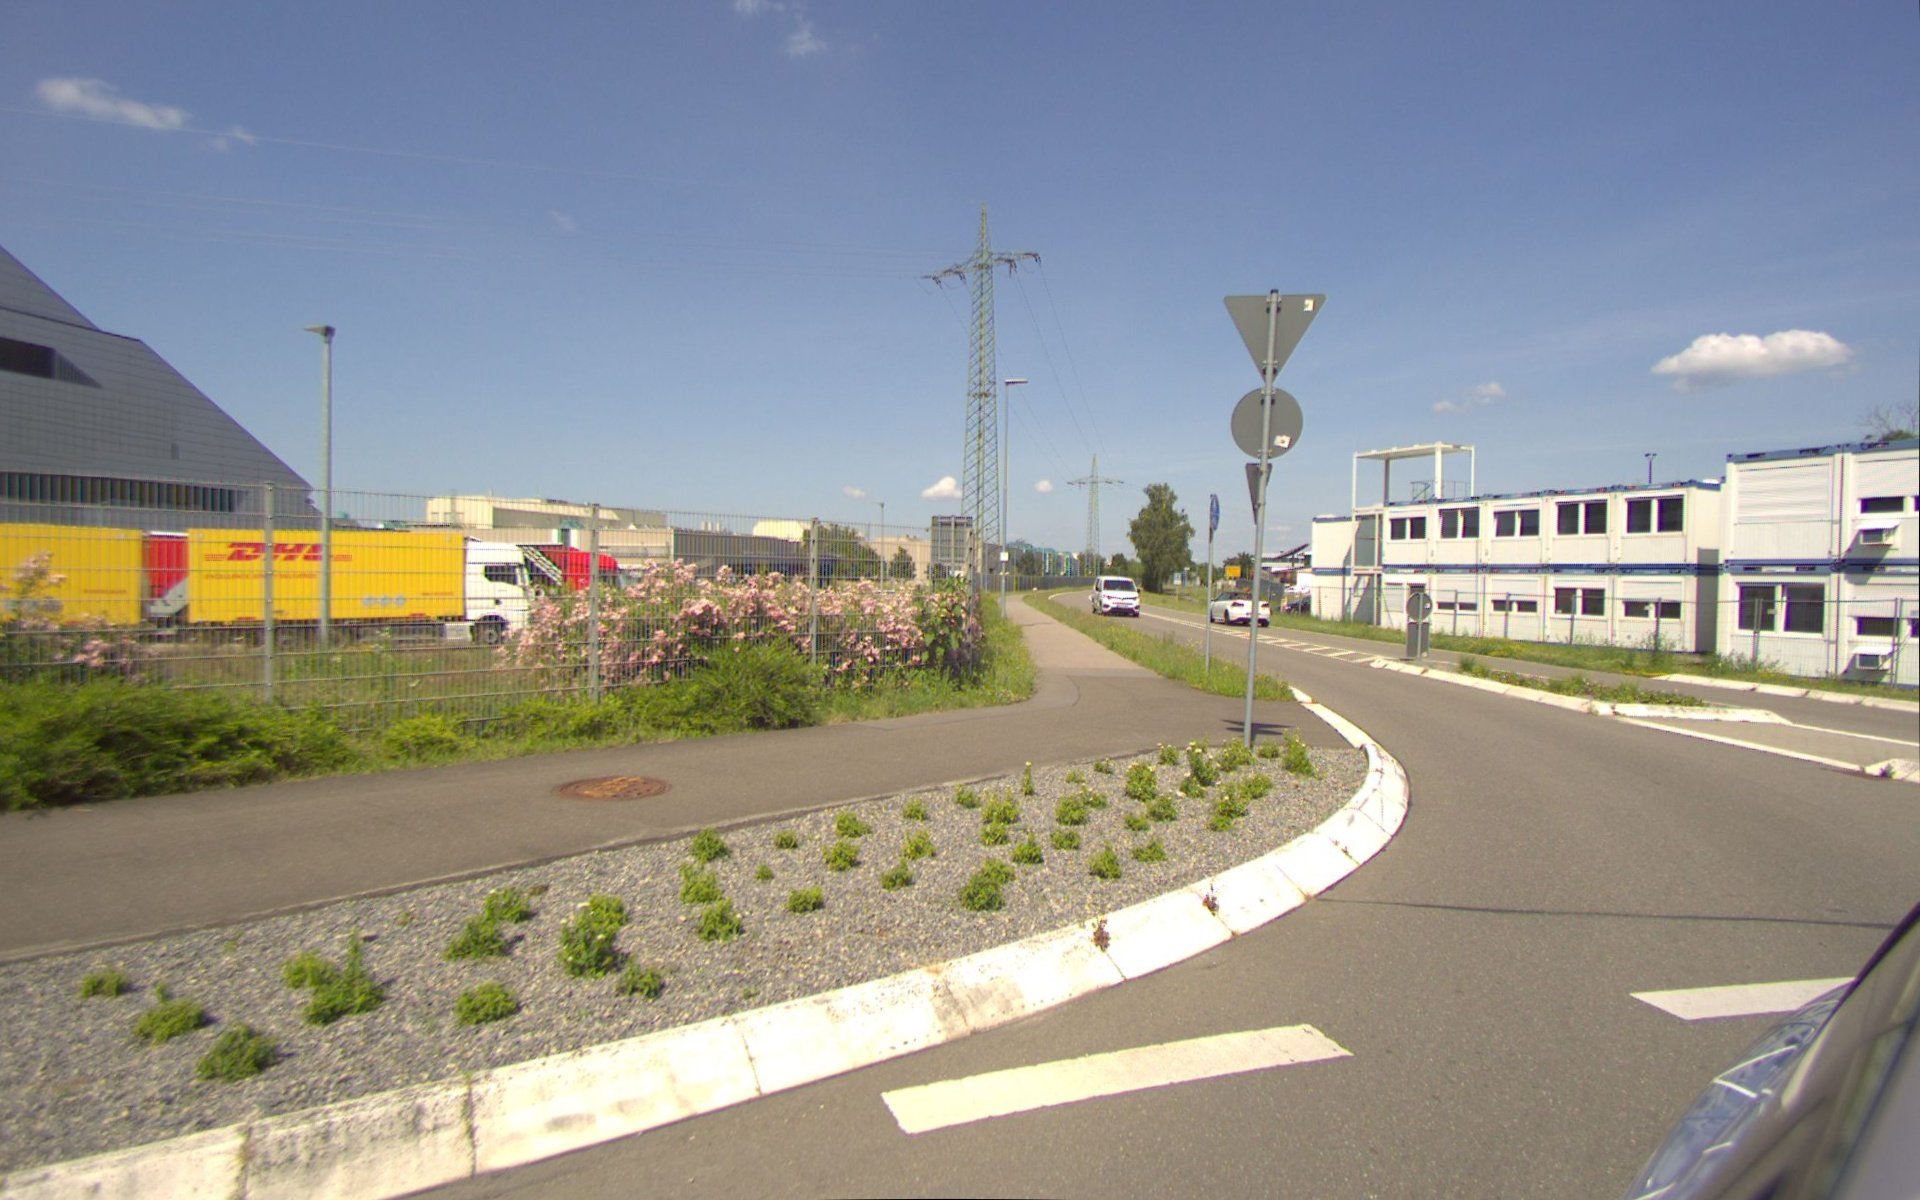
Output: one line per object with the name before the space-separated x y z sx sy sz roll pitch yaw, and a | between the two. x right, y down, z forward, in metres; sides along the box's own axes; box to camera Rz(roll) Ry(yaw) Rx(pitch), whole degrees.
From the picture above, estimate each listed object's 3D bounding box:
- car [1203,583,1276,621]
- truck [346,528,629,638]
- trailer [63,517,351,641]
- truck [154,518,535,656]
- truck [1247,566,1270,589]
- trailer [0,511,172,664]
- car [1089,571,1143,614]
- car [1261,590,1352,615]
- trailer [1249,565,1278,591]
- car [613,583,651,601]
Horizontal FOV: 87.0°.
car | 11.539 0.097 41.987 1.741 1.446 4.053 1 0 -2
truck | -20.304 -0.683 43.956 10.755 4.308 3.033 1 2 -31
trailer | -28.557 -0.764 39.020 8.541 4.348 3.033 1 2 -30
truck | -20.619 -0.405 34.809 10.754 4.224 2.826 1 2 -30
truck | 49.885 -3.825 169.485 3.066 3.689 10.552 2 2 13
trailer | -28.688 -0.430 29.682 8.548 4.348 2.903 1 2 -34
car | 7.225 -0.400 47.312 1.804 1.829 4.829 2 2 2
car | 21.436 0.137 62.713 4.884 1.435 2.003 1 1 -7
trailer | 47.004 -3.475 157.126 3.252 3.689 14.866 2 2 13
car | -30.467 -0.747 94.052 3.099 1.553 1.453 1 1 8
